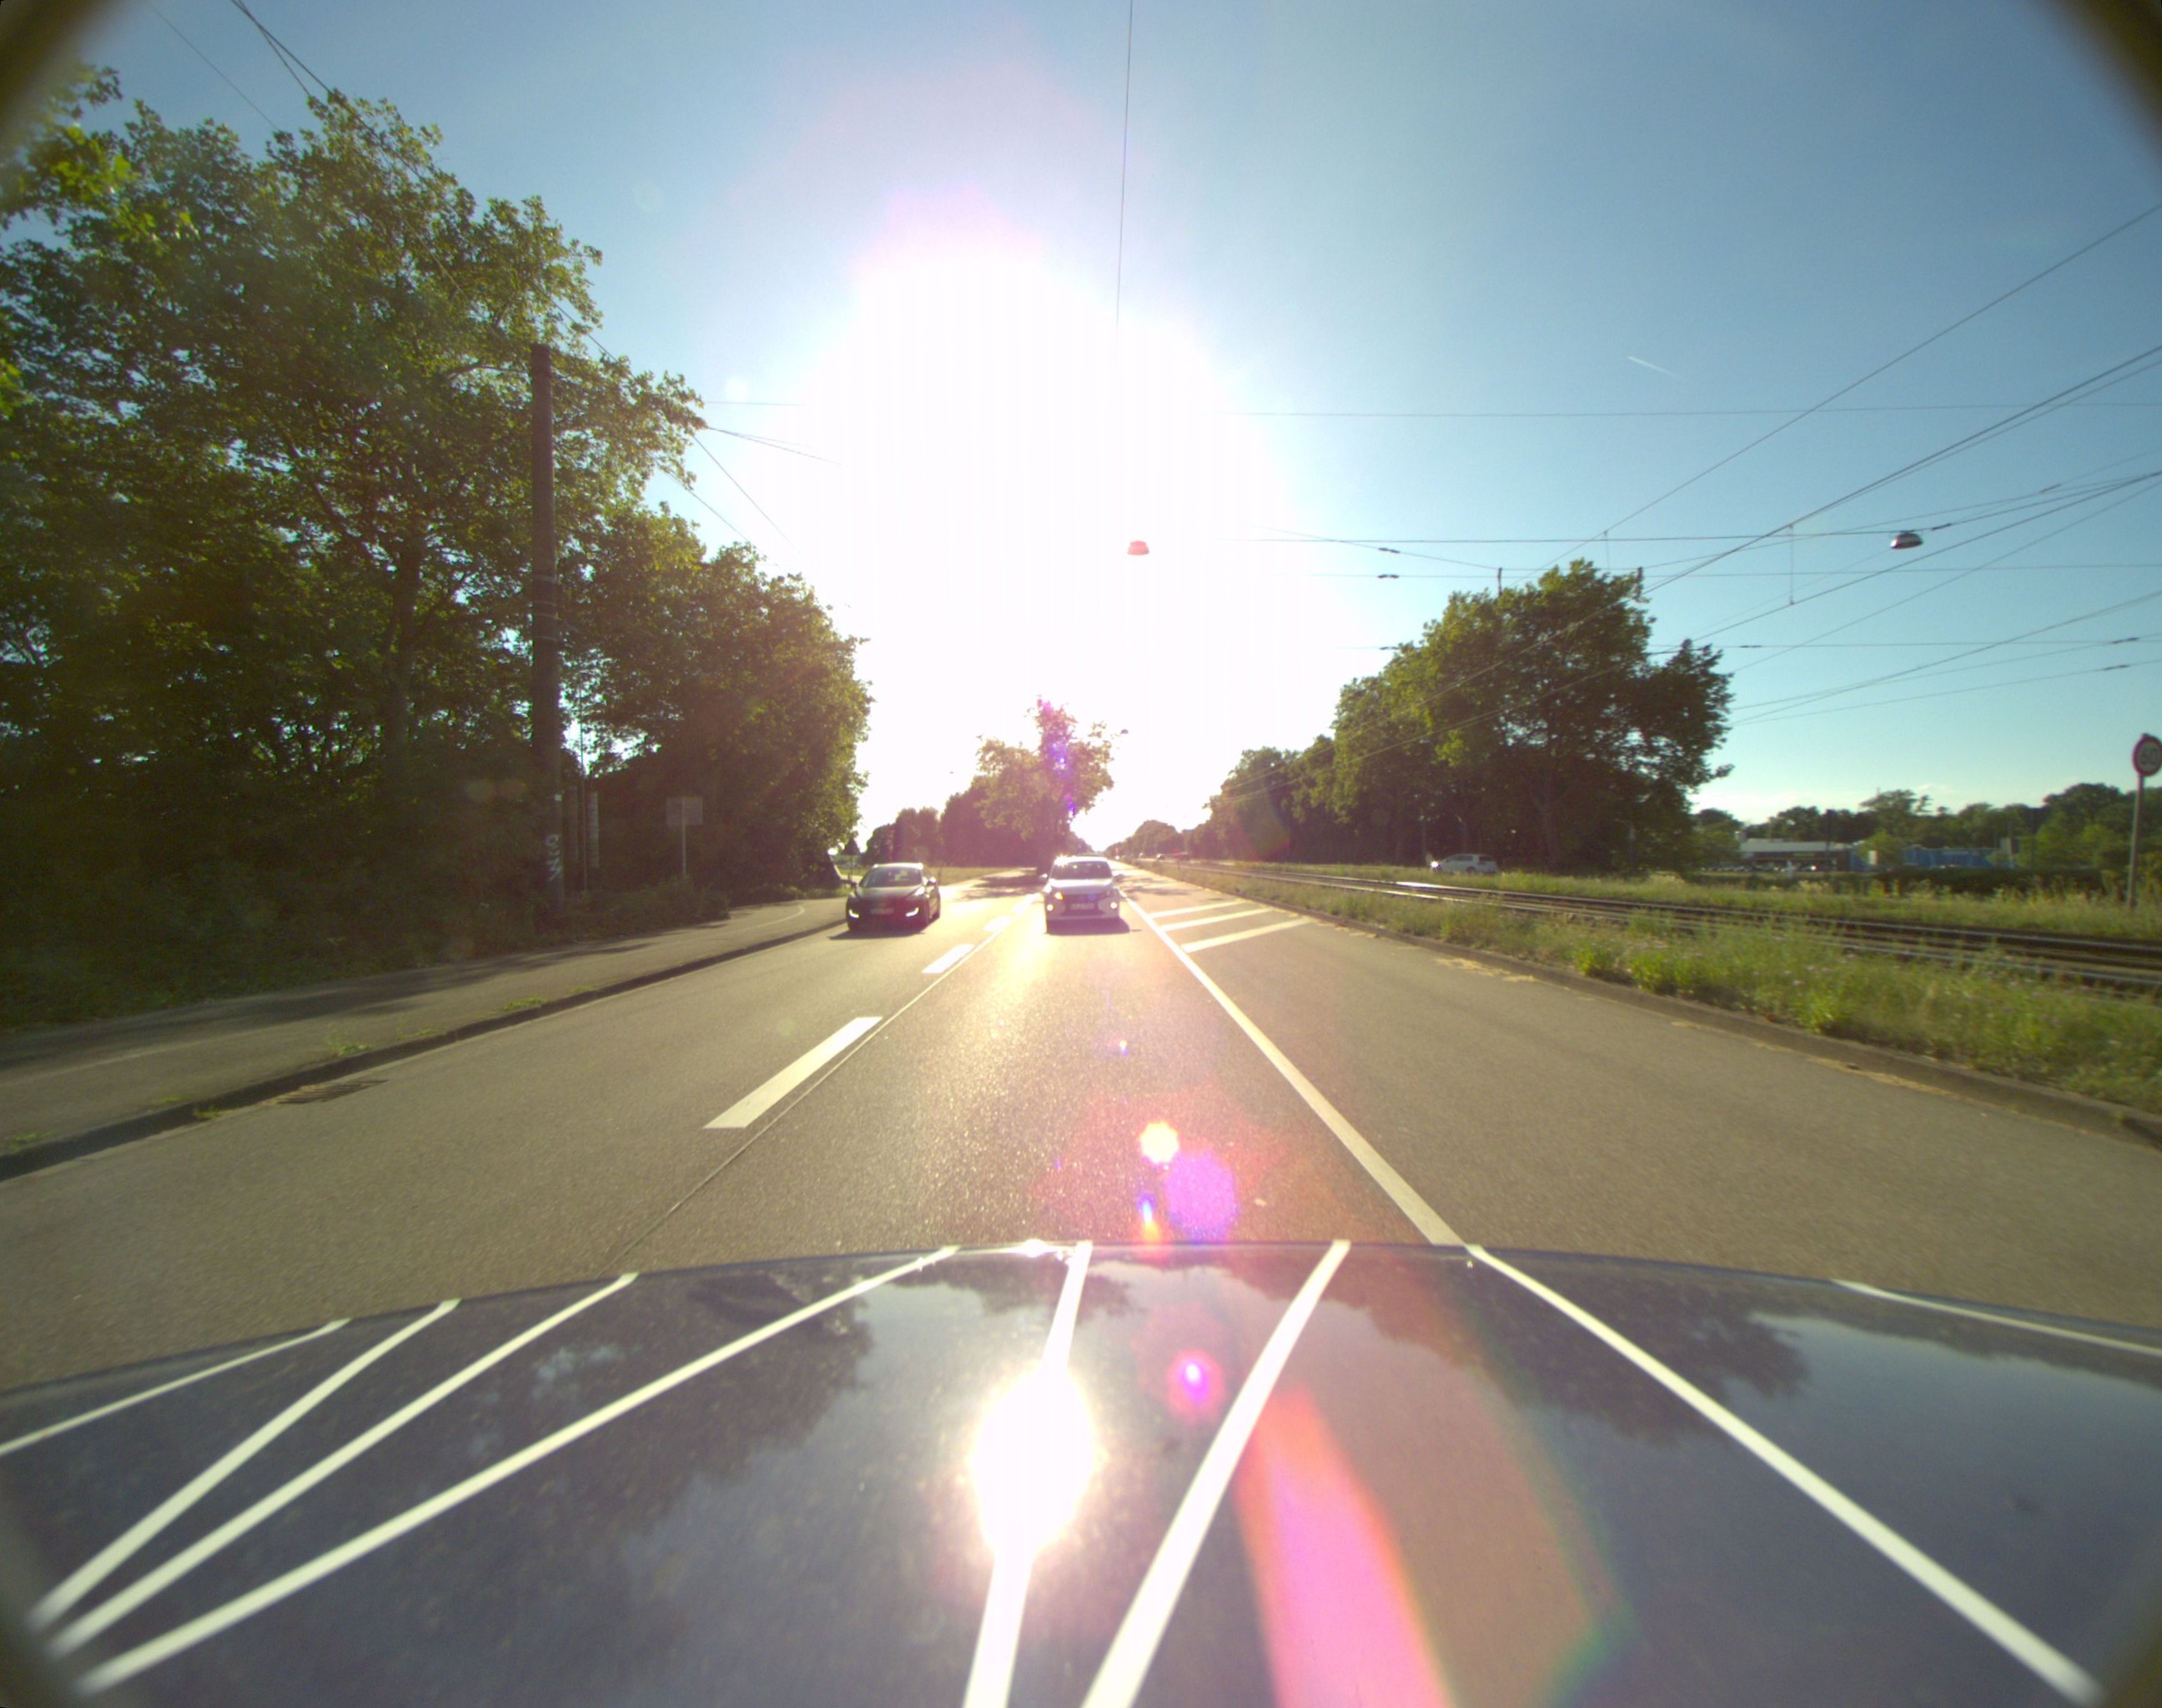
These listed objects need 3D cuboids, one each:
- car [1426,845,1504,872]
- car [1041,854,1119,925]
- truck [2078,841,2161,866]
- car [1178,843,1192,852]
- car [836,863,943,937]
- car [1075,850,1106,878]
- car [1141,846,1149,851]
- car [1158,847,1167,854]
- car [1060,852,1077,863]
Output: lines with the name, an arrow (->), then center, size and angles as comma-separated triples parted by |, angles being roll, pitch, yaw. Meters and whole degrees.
car -> 24.488, 0.252, 48.607 | 1.661, 1.517, 4.262 | -2, 3, -27
car -> 0.027, 0.797, 19.130 | 1.709, 1.503, 3.862 | -2, 1, 1
truck -> 113.057, -0.033, 82.763 | 5.018, 2.506, 2.068 | -2, 1, 30
car -> 20.364, -1.278, 148.627 | 1.903, 1.684, 4.940 | 0, 1, -1
car -> -4.536, 1.025, 18.595 | 1.798, 1.432, 4.221 | -2, 1, -5
car -> 0.591, 0.557, 45.157 | 1.709, 1.512, 3.844 | -2, 1, 1
car -> 20.112, -1.677, 239.453 | 1.968, 1.697, 4.943 | 1, 1, -2
car -> 20.078, -0.830, 187.980 | 1.715, 1.459, 4.347 | 1, 0, -1
car -> -2.202, 0.598, 130.371 | 1.884, 1.790, 3.649 | -2, 1, 16
